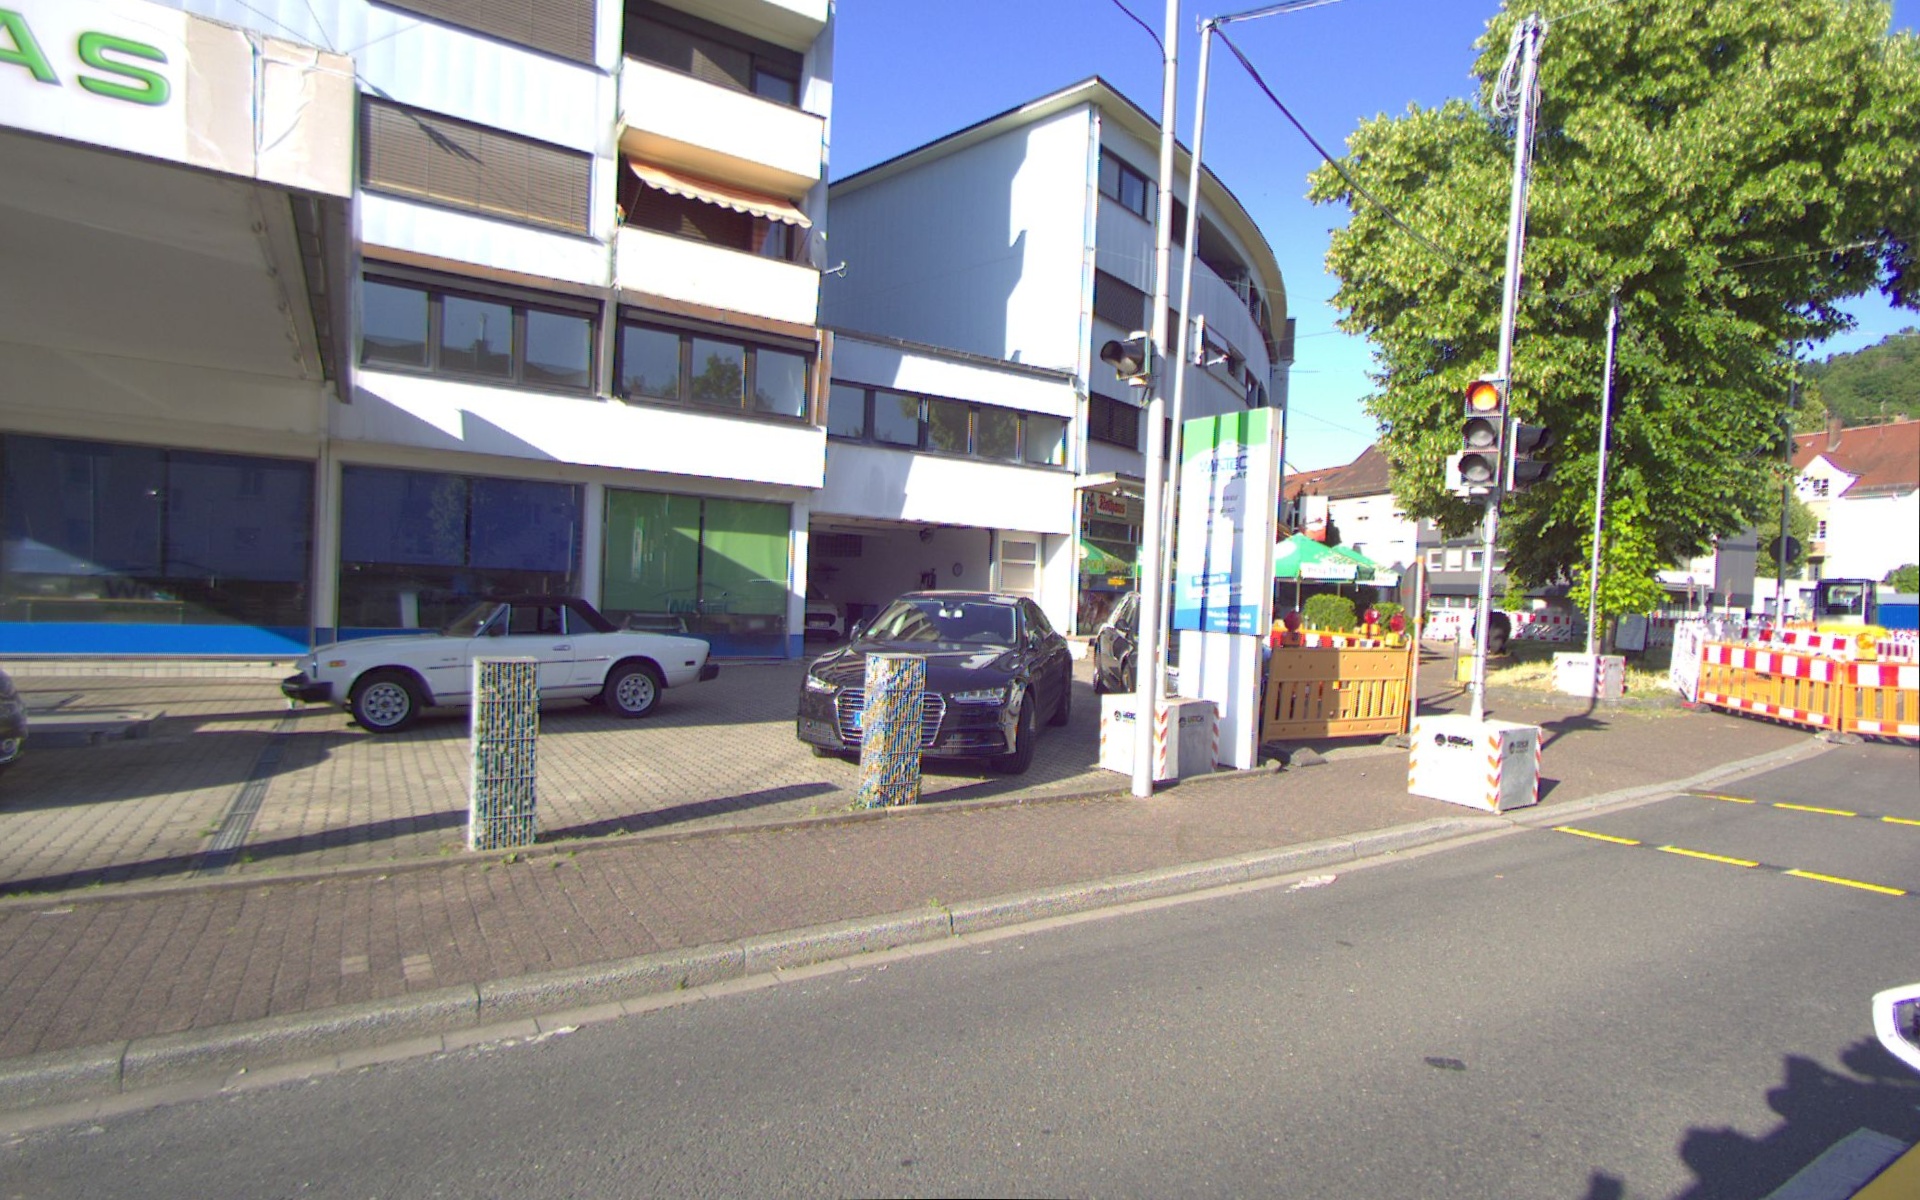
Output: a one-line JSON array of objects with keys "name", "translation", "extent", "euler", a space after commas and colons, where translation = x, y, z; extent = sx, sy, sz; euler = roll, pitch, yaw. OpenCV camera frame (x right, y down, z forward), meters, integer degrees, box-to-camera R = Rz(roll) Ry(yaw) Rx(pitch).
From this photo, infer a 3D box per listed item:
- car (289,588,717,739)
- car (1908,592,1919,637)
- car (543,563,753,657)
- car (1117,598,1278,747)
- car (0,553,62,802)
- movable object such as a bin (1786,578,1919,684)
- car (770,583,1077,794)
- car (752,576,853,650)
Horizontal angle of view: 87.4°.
[{"name": "car", "translation": [-4.670, 0.595, 10.487], "extent": [3.865, 1.315, 1.511], "euler": [1, -1, -35]}, {"name": "car", "translation": [49.525, 0.792, 48.403], "extent": [6.043, 2.149, 2.586], "euler": [2, 0, -12]}, {"name": "car", "translation": [-6.095, 0.221, 19.710], "extent": [3.593, 1.696, 1.707], "euler": [2, 0, -34]}, {"name": "car", "translation": [2.763, 0.747, 12.080], "extent": [1.564, 1.457, 3.887], "euler": [1, 0, 11]}, {"name": "car", "translation": [-7.477, 0.411, 5.859], "extent": [3.305, 1.506, 1.543], "euler": [2, 0, 8]}, {"name": "movable object such as a bin", "translation": [21.547, 0.704, 24.143], "extent": [3.882, 2.356, 1.635], "euler": [1, 0, -36]}, {"name": "car", "translation": [-0.020, 0.652, 9.571], "extent": [1.893, 1.457, 4.692], "euler": [1, -1, 11]}, {"name": "car", "translation": [-3.889, 0.257, 24.381], "extent": [1.550, 1.629, 3.734], "euler": [2, 1, -23]}]
